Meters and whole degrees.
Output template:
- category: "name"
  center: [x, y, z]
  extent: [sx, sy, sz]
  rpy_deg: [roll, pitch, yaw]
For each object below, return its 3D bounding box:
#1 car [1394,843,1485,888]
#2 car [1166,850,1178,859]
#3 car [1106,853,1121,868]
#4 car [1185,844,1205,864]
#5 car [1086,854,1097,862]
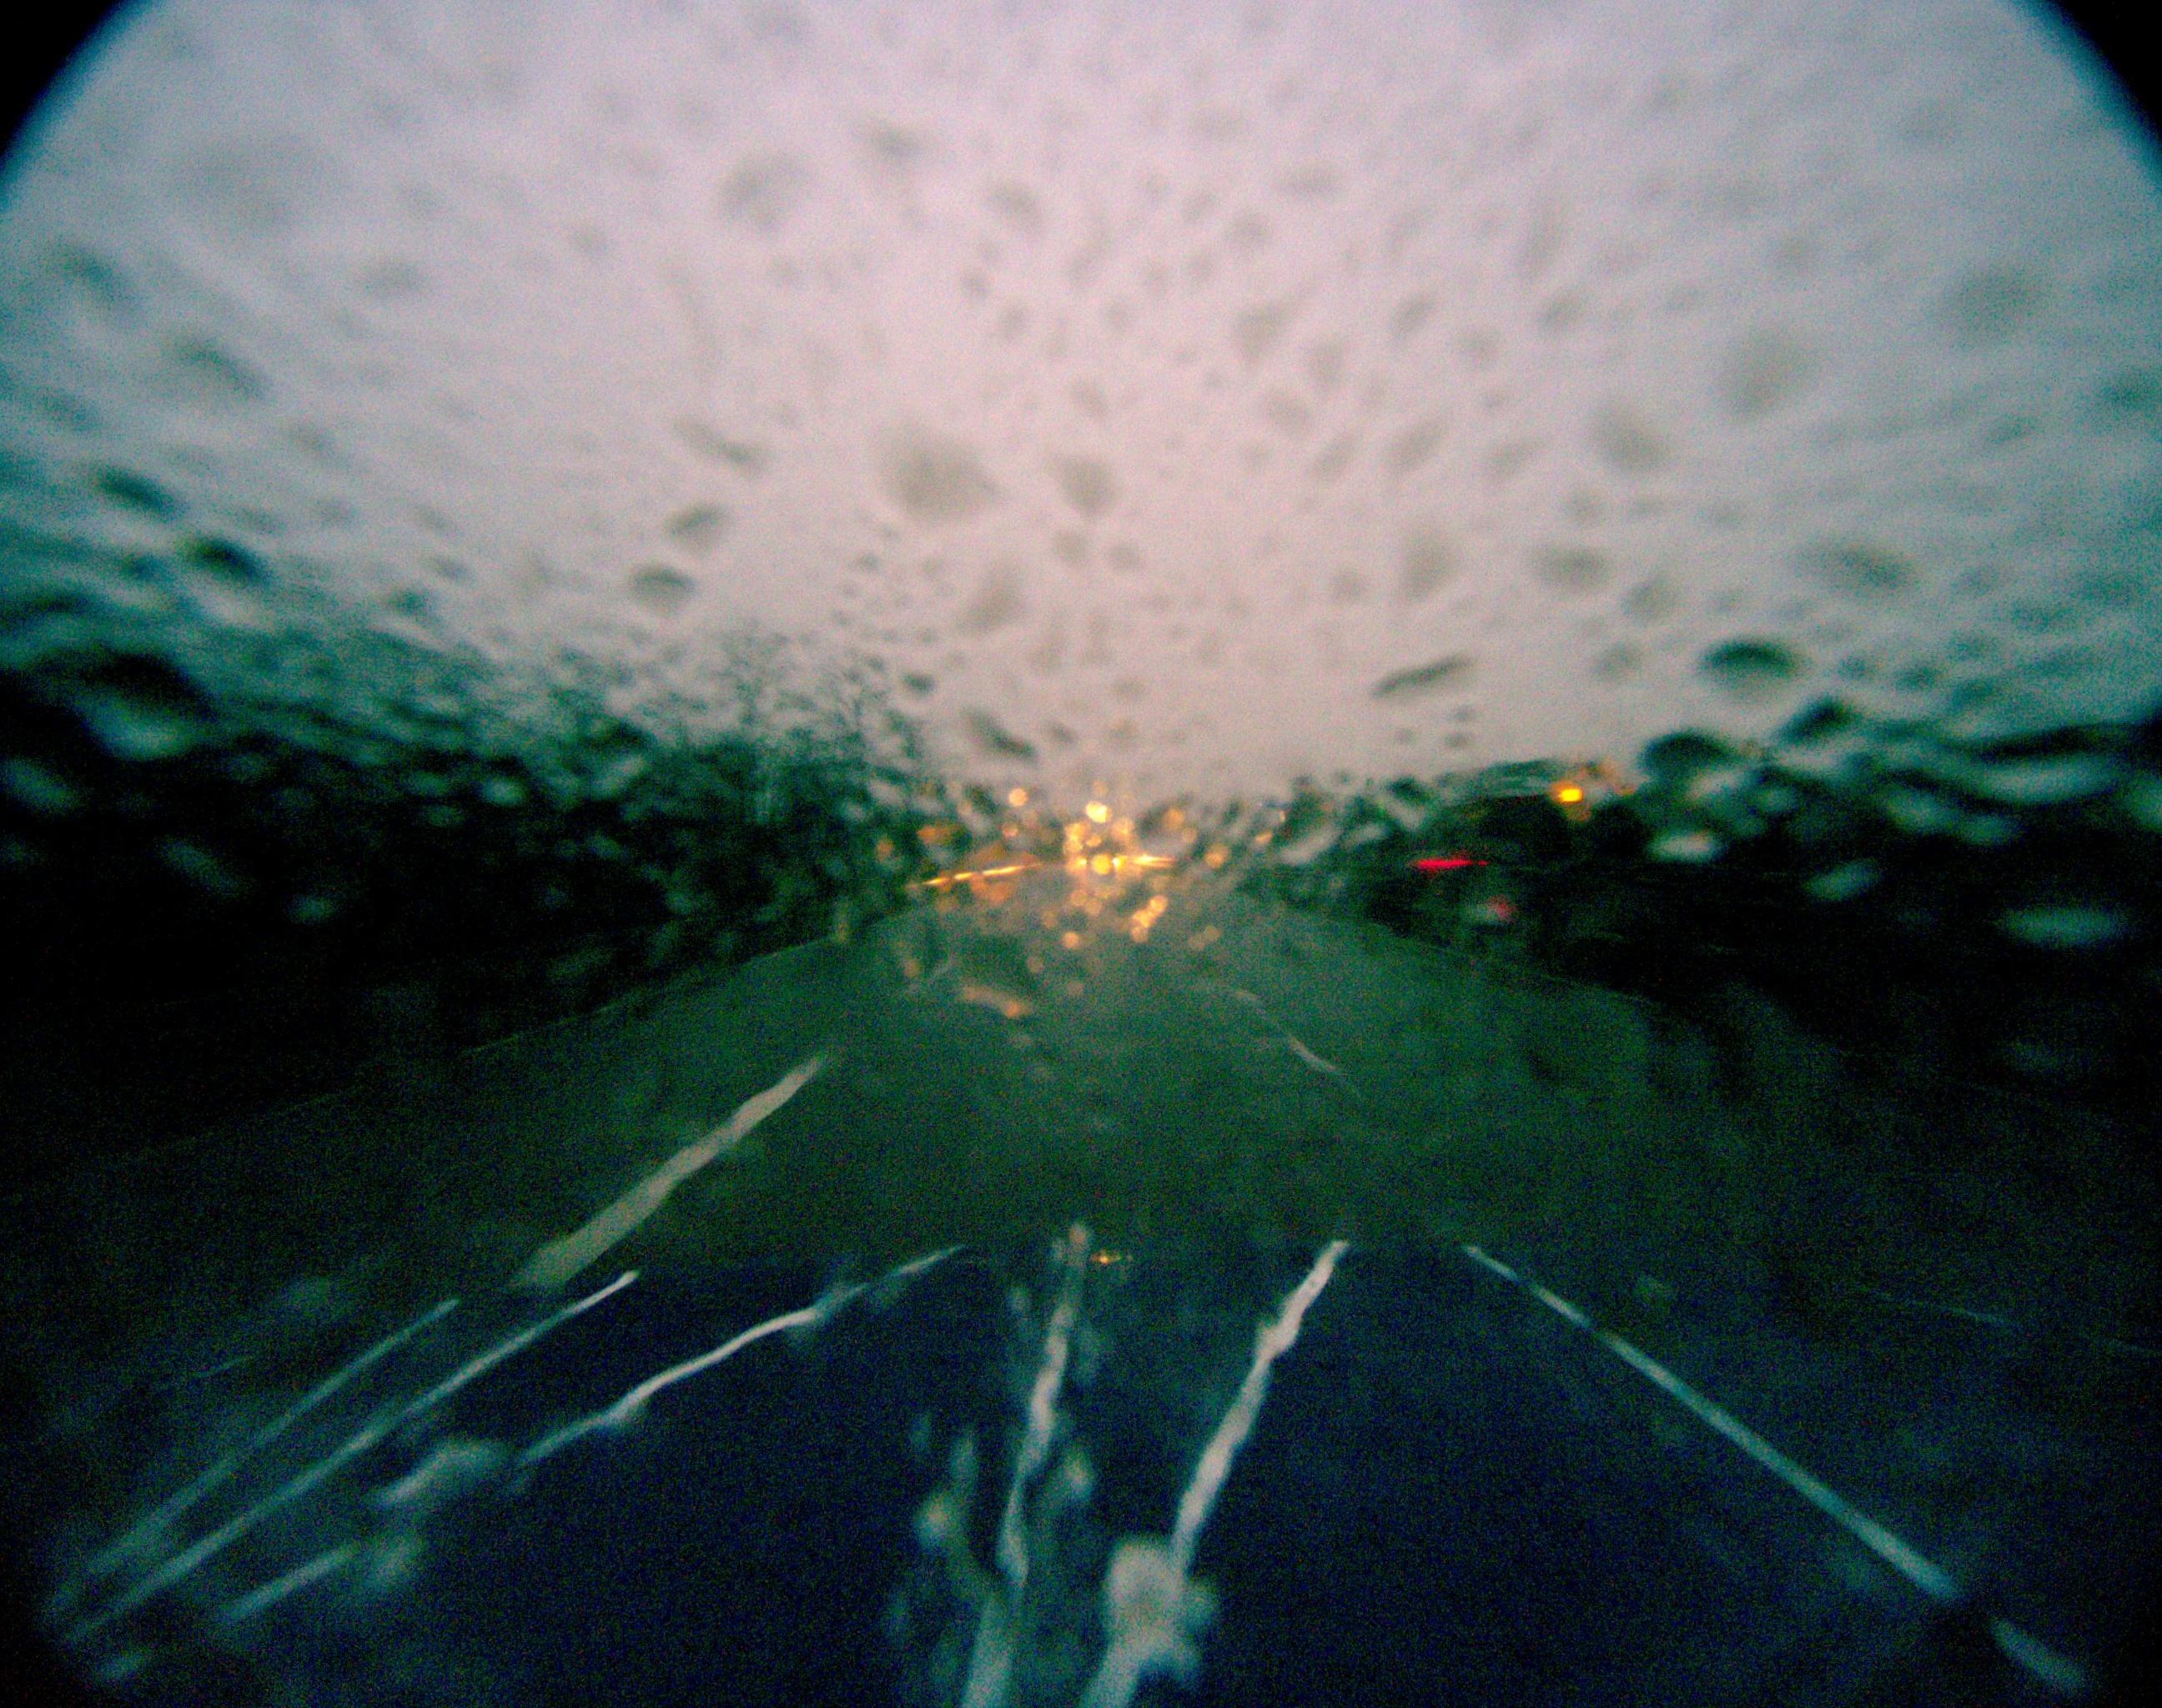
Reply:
- category: "car"
  center: [13.978, 0.428, 29.883]
  extent: [1.745, 1.630, 4.000]
  rpy_deg: [-1, 0, 1]
- category: "car"
  center: [16.394, -0.005, 136.508]
  extent: [1.741, 1.499, 4.000]
  rpy_deg: [-3, 1, 1]
- category: "car"
  center: [5.029, 0.998, 117.210]
  extent: [1.999, 2.002, 3.999]
  rpy_deg: [-4, 0, -1]
- category: "car"
  center: [15.192, -0.013, 101.087]
  extent: [1.932, 2.284, 4.885]
  rpy_deg: [-3, 4, 1]
- category: "car"
  center: [1.732, 0.677, 128.527]
  extent: [1.682, 1.401, 3.775]
  rpy_deg: [-1, 0, 2]
